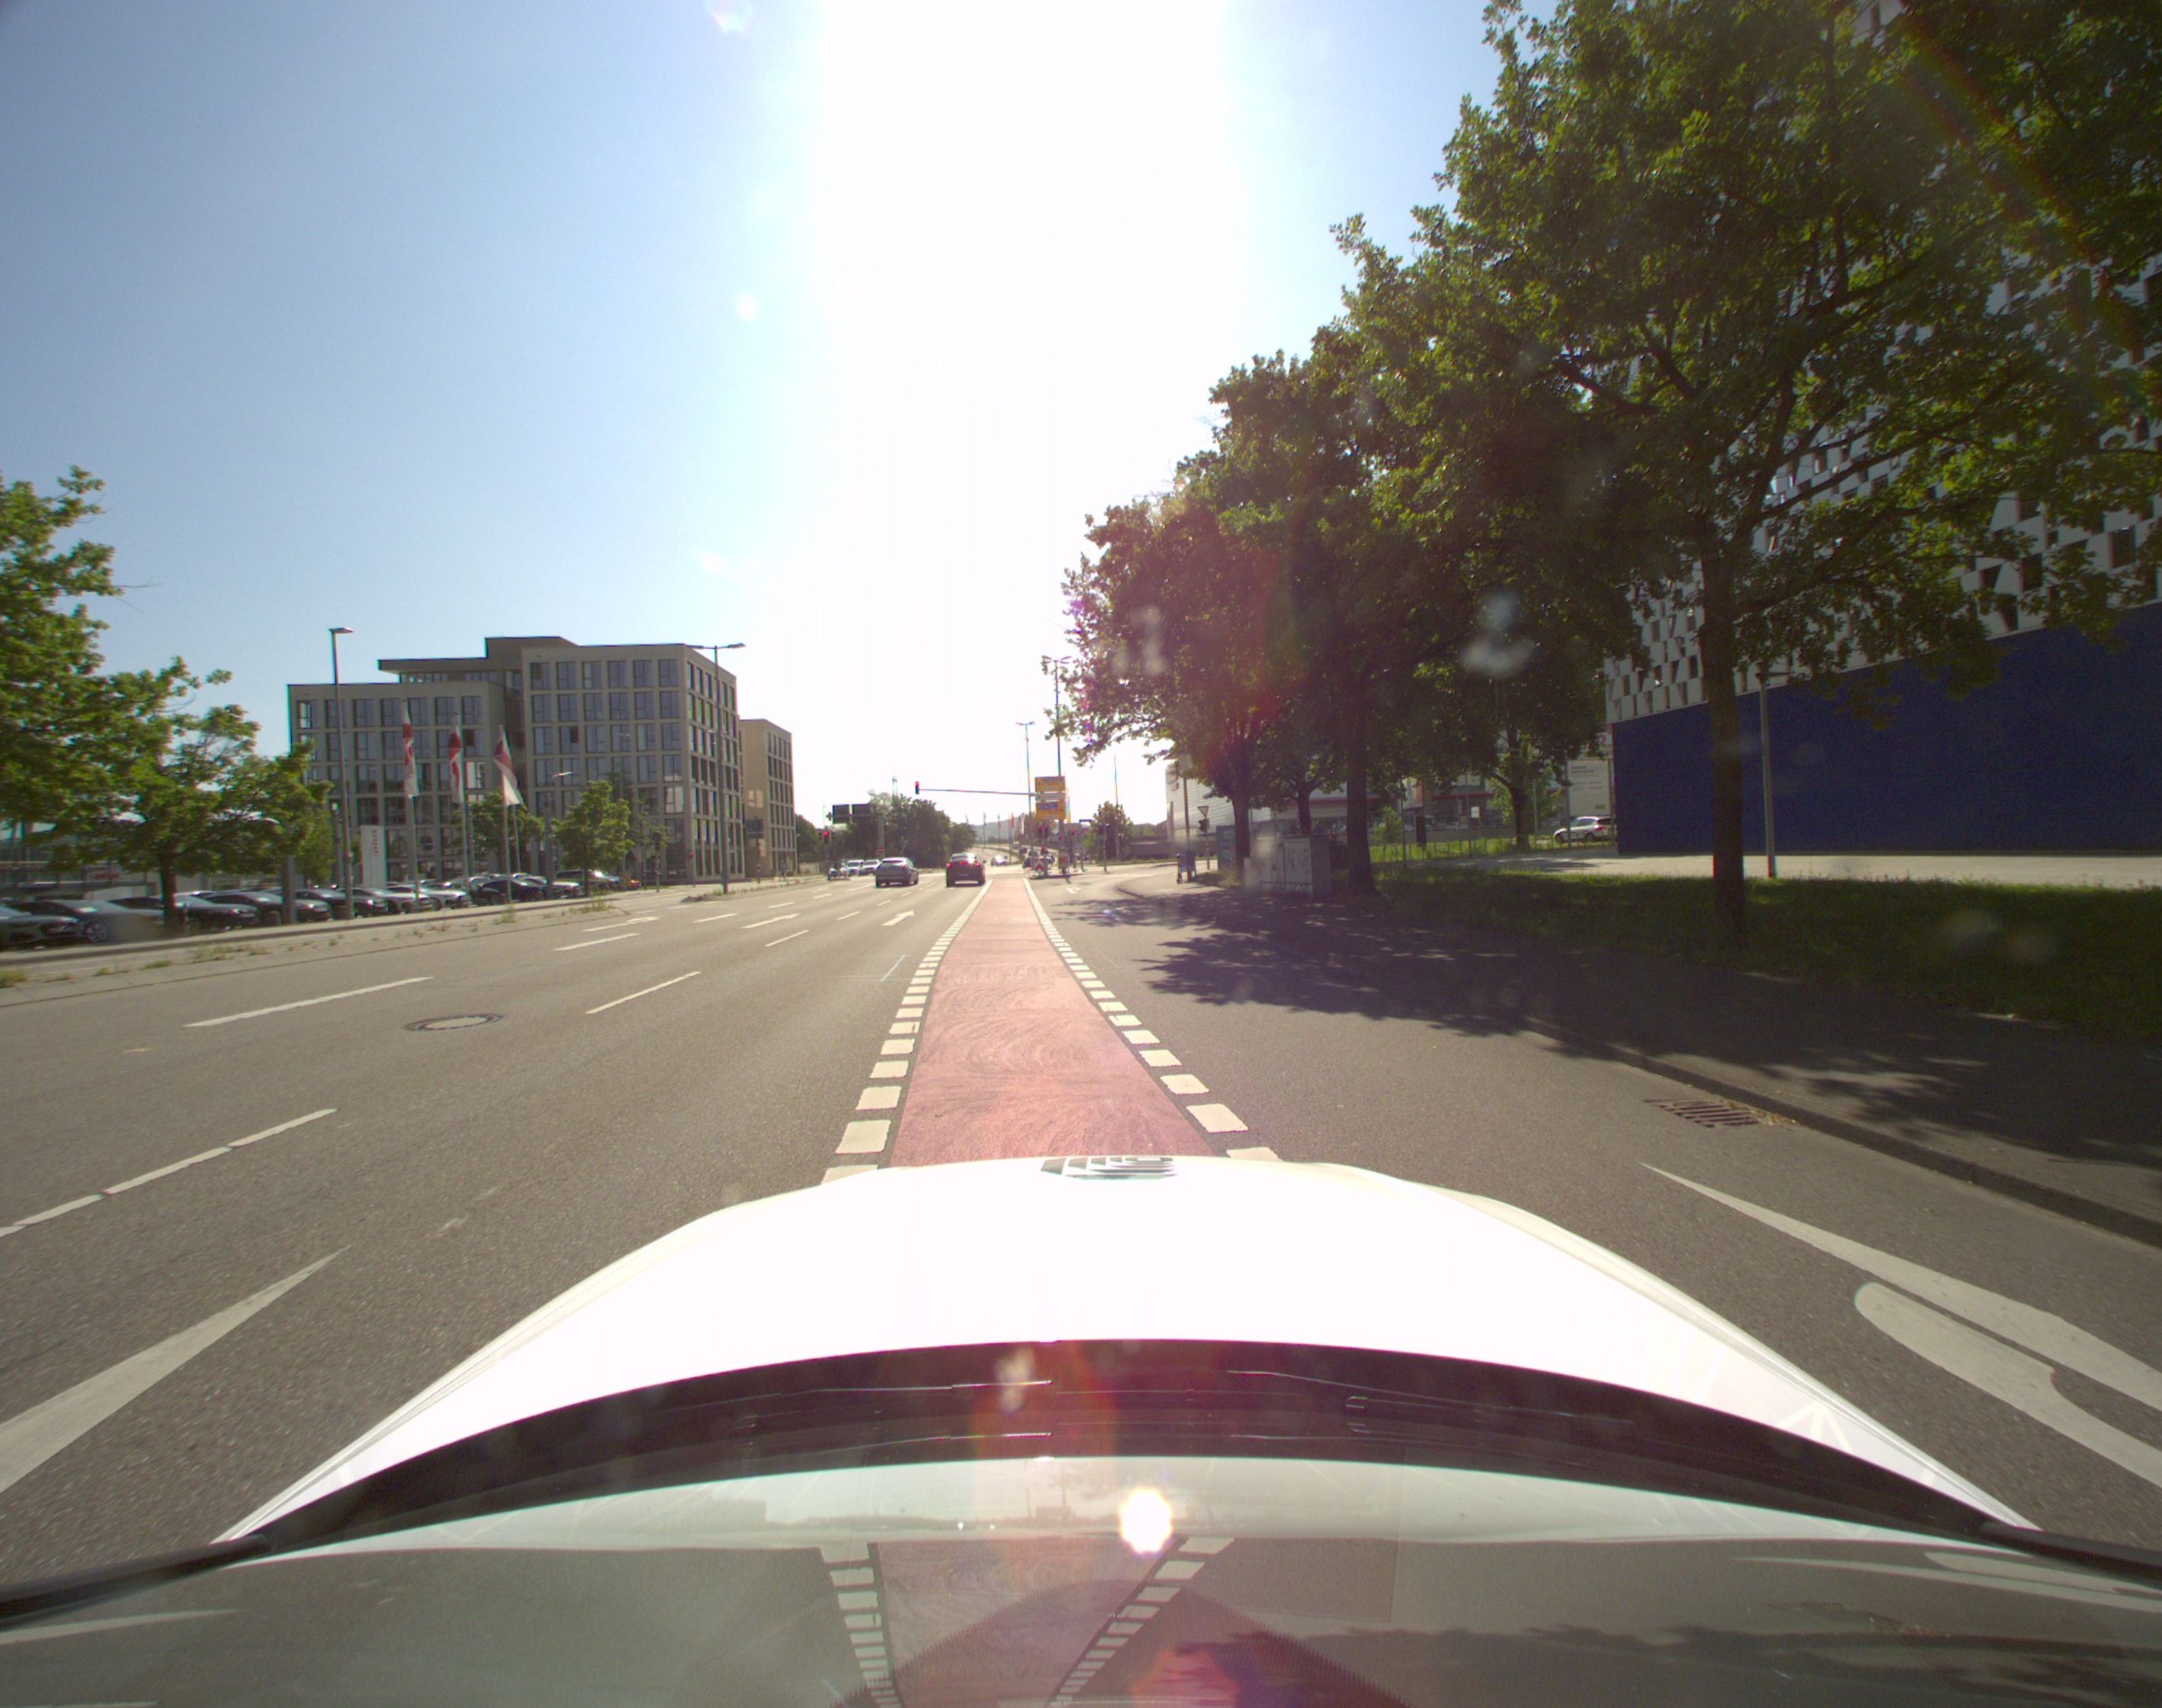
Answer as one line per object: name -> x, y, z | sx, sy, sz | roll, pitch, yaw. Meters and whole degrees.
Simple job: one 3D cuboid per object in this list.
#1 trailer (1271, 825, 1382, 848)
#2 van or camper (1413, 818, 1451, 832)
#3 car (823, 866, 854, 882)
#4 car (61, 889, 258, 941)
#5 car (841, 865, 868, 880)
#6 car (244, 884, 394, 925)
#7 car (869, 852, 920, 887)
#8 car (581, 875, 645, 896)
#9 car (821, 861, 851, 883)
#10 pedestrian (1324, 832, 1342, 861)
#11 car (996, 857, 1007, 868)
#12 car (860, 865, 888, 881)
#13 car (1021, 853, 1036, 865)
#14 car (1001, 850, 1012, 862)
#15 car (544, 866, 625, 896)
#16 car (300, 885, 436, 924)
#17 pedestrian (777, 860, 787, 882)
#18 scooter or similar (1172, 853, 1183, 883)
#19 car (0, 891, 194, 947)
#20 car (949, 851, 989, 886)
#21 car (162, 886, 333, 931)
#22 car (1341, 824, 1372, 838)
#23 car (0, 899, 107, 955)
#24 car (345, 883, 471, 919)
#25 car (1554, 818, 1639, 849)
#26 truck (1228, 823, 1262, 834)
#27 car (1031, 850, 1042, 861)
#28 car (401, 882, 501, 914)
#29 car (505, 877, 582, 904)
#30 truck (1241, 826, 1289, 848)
trailer -> 27.242, -1.935, 90.475 | 11.840, 2.469, 1.999 | 0, 1, -2
van or camper -> 52.996, -4.402, 123.039 | 4.977, 2.013, 1.996 | 0, 1, -6
car -> -24.547, 2.005, 82.584 | 1.886, 1.464, 3.999 | -3, 0, 0
car -> -30.579, 2.003, 27.145 | 3.982, 1.343, 1.996 | -3, 0, -6
car -> -25.047, 2.009, 90.148 | 1.810, 1.464, 3.999 | -3, 0, 0
car -> -30.831, 2.011, 33.068 | 3.982, 1.343, 1.996 | -3, 0, -6
car -> -9.884, 0.785, 43.427 | 1.990, 1.684, 3.994 | -3, 0, -4
car -> -38.389, 2.551, 66.825 | 3.978, 1.464, 1.998 | -3, 0, -4
car -> -16.141, 1.159, 53.693 | 1.212, 1.331, 2.797 | 0, 1, -3
pedestrian -> 15.770, -0.489, 51.006 | 0.628, 1.770, 0.801 | -3, 0, -15
car -> -14.099, 1.459, 144.710 | 1.758, 1.794, 3.340 | -3, 0, -6
car -> -21.400, 1.947, 84.184 | 1.810, 1.464, 3.999 | -3, 0, 0
car -> -6.411, 0.600, 99.321 | 1.685, 1.359, 3.996 | 0, 1, -3
car -> -13.889, 0.358, 152.715 | 1.990, 2.013, 3.975 | 0, 1, -4
car -> -38.641, 2.076, 63.464 | 4.904, 2.050, 1.998 | -3, 0, -4
car -> -31.046, 2.182, 35.574 | 3.982, 1.343, 1.996 | -3, 0, -6
pedestrian -> -27.631, 1.556, 75.206 | 0.760, 2.013, 0.925 | -1, 1, -30
scooter or similar -> 4.094, 0.598, 34.655 | 0.349, 1.233, 1.314 | -3, 0, 9
car -> -30.304, 1.961, 24.855 | 3.982, 1.343, 1.996 | -3, 0, -6
car -> -5.780, 0.731, 42.494 | 1.804, 1.640, 4.451 | -3, 0, -5
car -> -30.708, 1.981, 30.129 | 3.983, 1.343, 1.995 | -3, 0, -7
car -> 41.763, -3.515, 123.302 | 3.982, 2.013, 1.996 | 0, 1, -6
car -> -30.047, 2.067, 22.234 | 4.145, 1.343, 1.996 | -3, 0, -6
car -> -31.269, 2.161, 37.949 | 3.982, 1.343, 1.996 | -3, 0, -6
car -> 27.880, -1.071, 44.222 | 1.785, 1.489, 3.916 | -3, 0, -7
truck -> 30.738, -4.772, 152.686 | 5.895, 2.013, 1.998 | 0, 1, -3
car -> -8.779, 0.285, 160.156 | 1.987, 2.013, 4.001 | 0, 1, 0
car -> -32.494, 2.227, 42.198 | 1.699, 1.343, 4.438 | -3, 0, -1
car -> -32.151, 2.165, 48.746 | 3.403, 1.343, 1.643 | -3, 0, -3
truck -> 20.331, -1.868, 90.179 | 4.866, 2.423, 1.999 | 0, 1, -1
